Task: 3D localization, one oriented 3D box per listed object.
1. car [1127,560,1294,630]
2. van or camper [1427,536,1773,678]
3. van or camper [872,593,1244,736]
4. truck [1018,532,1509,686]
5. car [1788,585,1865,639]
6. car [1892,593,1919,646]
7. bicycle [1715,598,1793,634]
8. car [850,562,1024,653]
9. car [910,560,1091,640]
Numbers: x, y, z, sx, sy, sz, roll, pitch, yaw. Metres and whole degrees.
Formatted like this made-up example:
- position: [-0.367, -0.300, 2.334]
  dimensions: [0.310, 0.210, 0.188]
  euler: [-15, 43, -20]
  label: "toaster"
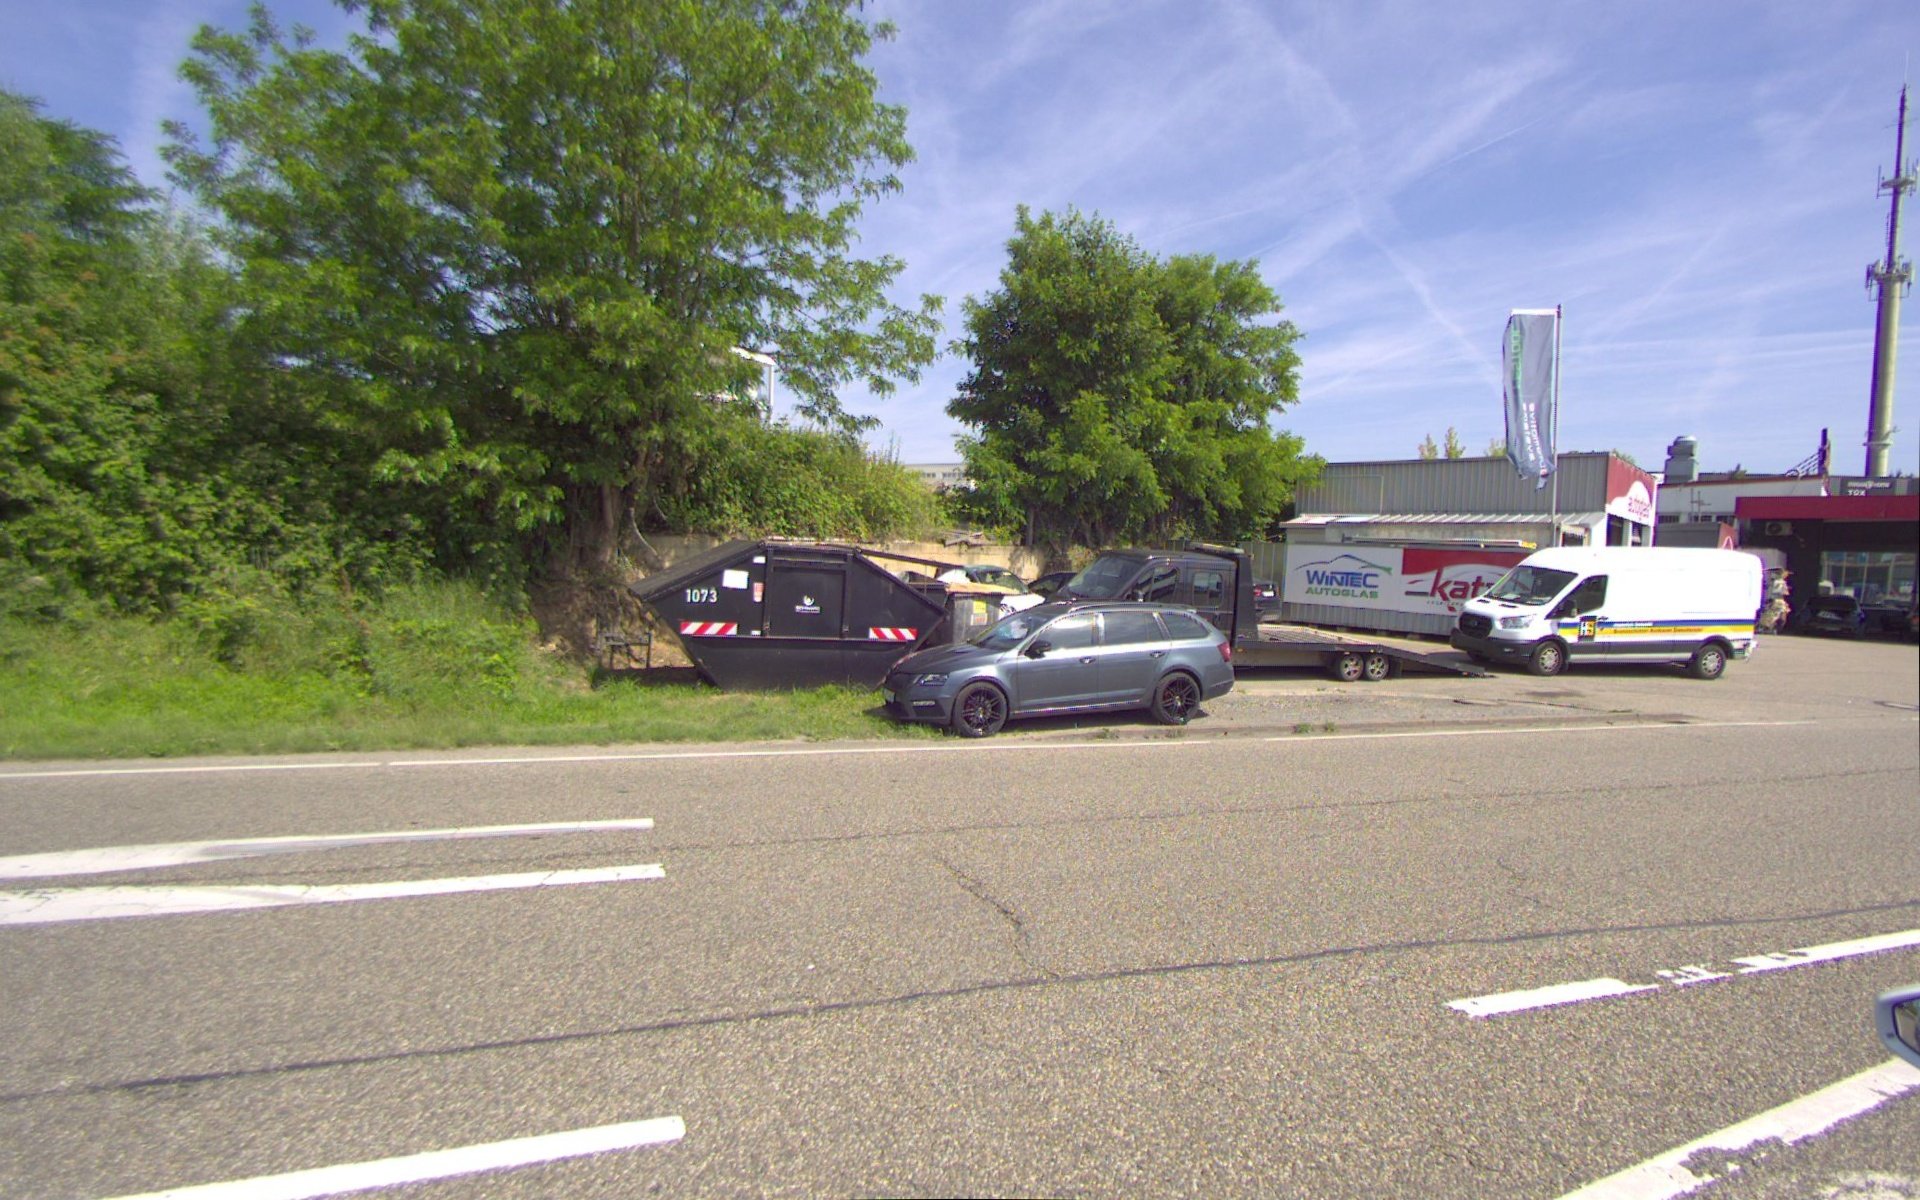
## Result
- position: [6.169, -0.159, 24.961]
  dimensions: [3.620, 1.550, 1.729]
  euler: [3, 2, 44]
  label: "car"
- position: [12.869, 0.117, 20.376]
  dimensions: [5.843, 2.533, 2.156]
  euler: [2, 5, -10]
  label: "van or camper"
- position: [1.237, 0.770, 12.755]
  dimensions: [4.399, 1.545, 1.637]
  euler: [1, 2, -20]
  label: "van or camper"
- position: [5.544, 0.167, 18.210]
  dimensions: [8.665, 2.328, 2.328]
  euler: [1, 6, -19]
  label: "truck"
- position: [30.569, 0.383, 35.416]
  dimensions: [1.832, 1.525, 3.978]
  euler: [8, 7, 41]
  label: "car"
- position: [32.744, 0.676, 33.854]
  dimensions: [1.833, 1.525, 4.370]
  euler: [6, 6, 42]
  label: "car"
- position: [27.045, 0.534, 34.250]
  dimensions: [1.971, 0.984, 0.412]
  euler: [9, 6, 44]
  label: "bicycle"
- position: [-0.538, 0.080, 19.249]
  dimensions: [1.698, 1.531, 3.638]
  euler: [1, 2, -32]
  label: "car"
- position: [0.769, -0.054, 20.923]
  dimensions: [1.726, 1.489, 3.627]
  euler: [0, 2, -41]
  label: "car"
